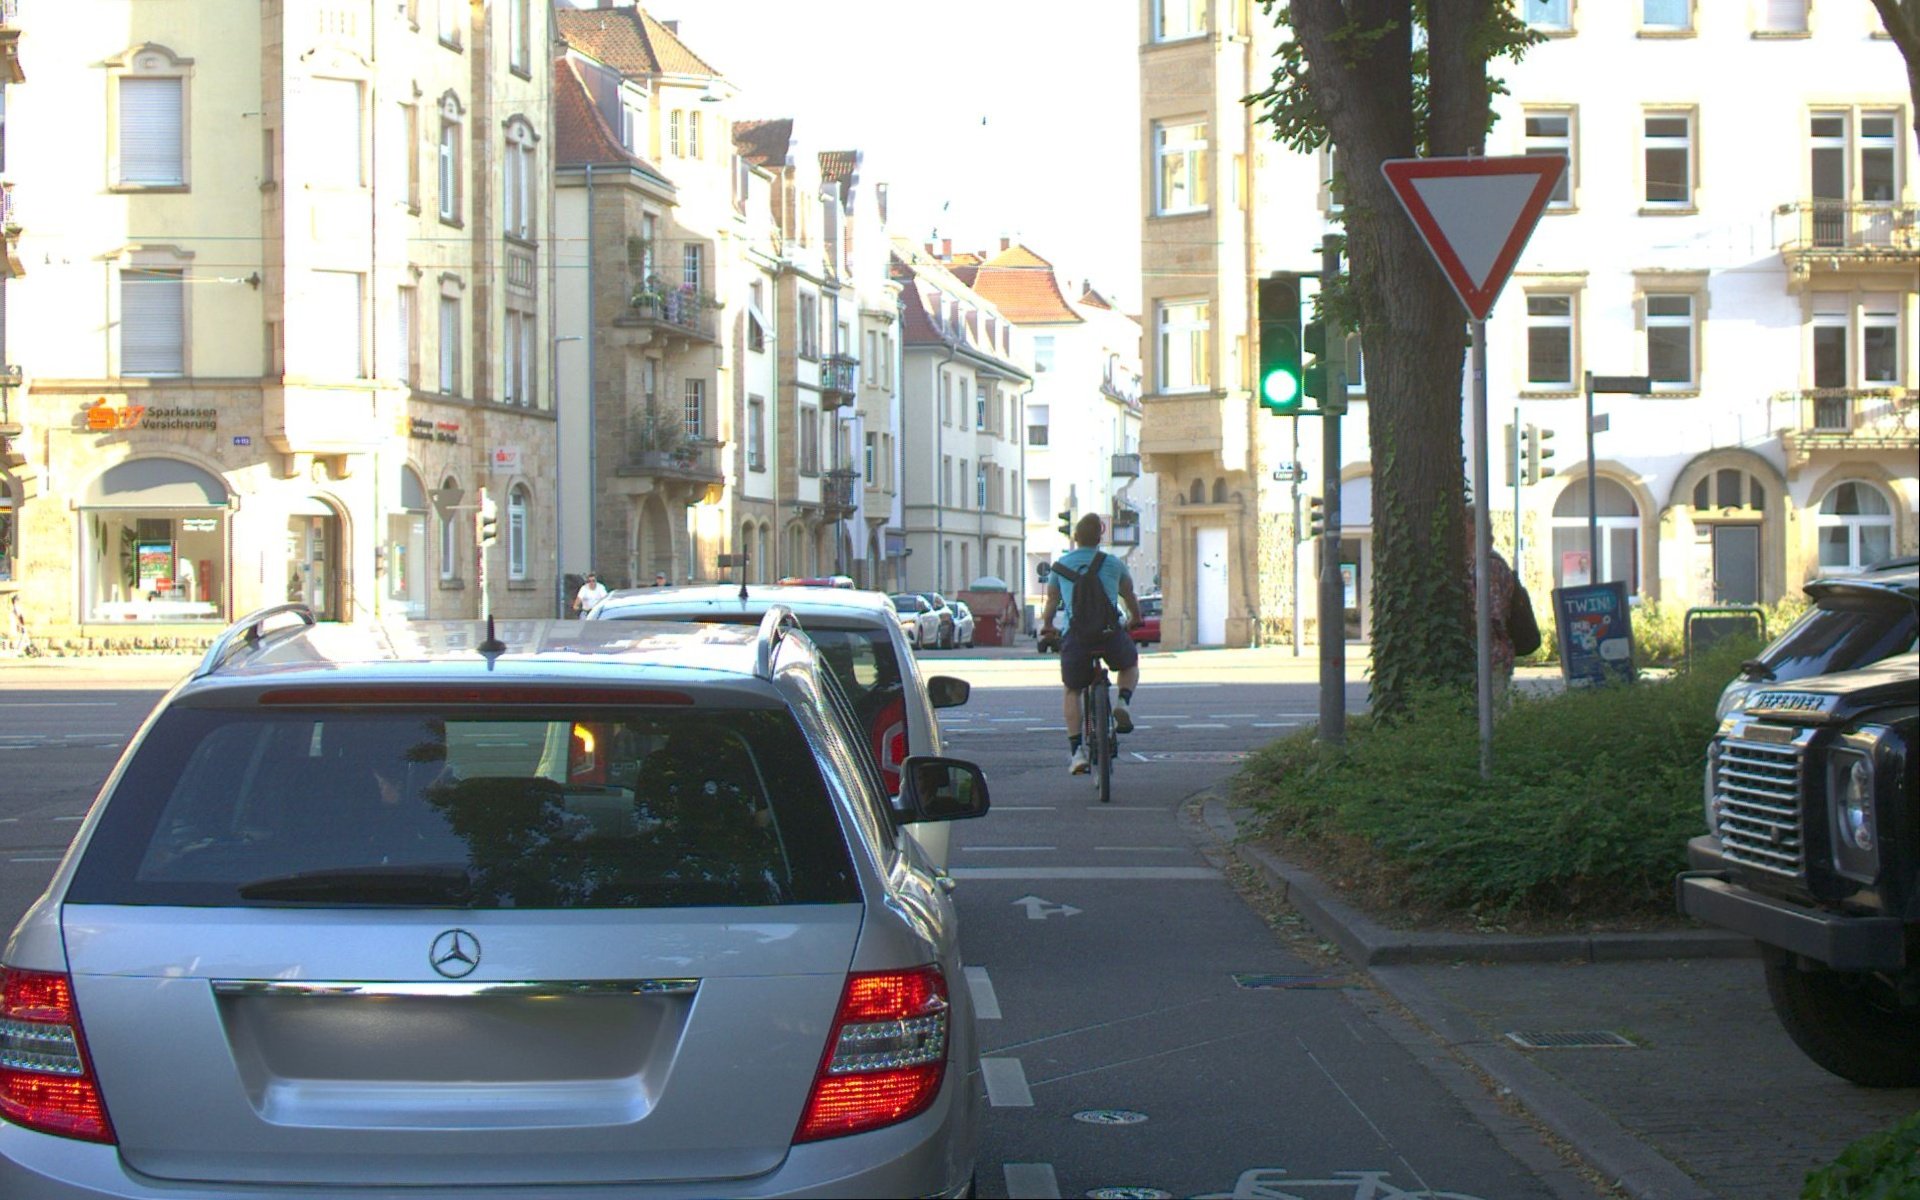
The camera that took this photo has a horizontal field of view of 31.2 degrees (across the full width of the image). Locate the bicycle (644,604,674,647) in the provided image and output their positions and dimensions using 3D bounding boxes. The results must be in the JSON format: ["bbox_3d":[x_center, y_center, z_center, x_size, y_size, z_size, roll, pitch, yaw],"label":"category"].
[{"bbox_3d":[-6.139,0.518,70.155,0.568,0.832,1.566,0,1,-4],"label":"bicycle"}]

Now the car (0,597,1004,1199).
[{"bbox_3d":[-0.873,0.739,7.034,1.690,1.424,3.493,1,1,-3],"label":"car"}]

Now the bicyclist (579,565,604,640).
[{"bbox_3d":[-7.469,0.042,69.721,0.466,1.509,0.655,0,1,-4],"label":"bicyclist"}]

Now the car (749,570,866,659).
[{"bbox_3d":[-3.433,0.312,78.278,1.938,1.952,4.149,0,1,8],"label":"car"}]

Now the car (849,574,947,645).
[{"bbox_3d":[-1.545,0.227,86.808,1.687,1.717,3.998,0,1,11],"label":"car"}]

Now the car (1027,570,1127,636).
[{"bbox_3d":[2.917,0.052,84.868,1.722,1.473,3.998,-2,1,12],"label":"car"}]

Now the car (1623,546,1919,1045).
[{"bbox_3d":[4.288,0.579,12.024,3.480,1.581,1.711,-2,1,-6],"label":"car"}]

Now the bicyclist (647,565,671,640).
[{"bbox_3d":[-6.144,0.041,70.178,0.466,1.516,0.694,0,1,-4],"label":"bicyclist"}]

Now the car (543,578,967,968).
[{"bbox_3d":[-0.803,0.621,14.313,1.533,1.386,3.599,0,1,-2],"label":"car"}]

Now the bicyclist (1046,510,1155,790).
[{"bbox_3d":[0.900,0.317,22.215,0.646,1.769,0.831,1,0,0],"label":"bicyclist"}]

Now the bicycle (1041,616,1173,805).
[{"bbox_3d":[0.928,0.688,22.192,0.742,1.114,2.013,1,1,0],"label":"bicycle"}]

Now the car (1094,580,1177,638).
[{"bbox_3d":[5.184,0.252,101.023,1.722,1.473,3.998,-4,0,12],"label":"car"}]

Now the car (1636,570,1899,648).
[{"bbox_3d":[11.365,0.121,48.504,3.364,1.065,1.380,0,1,-1],"label":"car"}]

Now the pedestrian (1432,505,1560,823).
[{"bbox_3d":[3.144,0.368,20.201,0.631,1.838,0.575,0,1,-4],"label":"pedestrian"}]

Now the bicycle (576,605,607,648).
[{"bbox_3d":[-7.469,0.533,69.712,0.568,0.832,1.566,0,1,-4],"label":"bicycle"}]

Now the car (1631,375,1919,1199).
[{"bbox_3d":[4.256,0.355,9.135,4.490,1.949,1.793,-2,1,-3],"label":"car"}]
